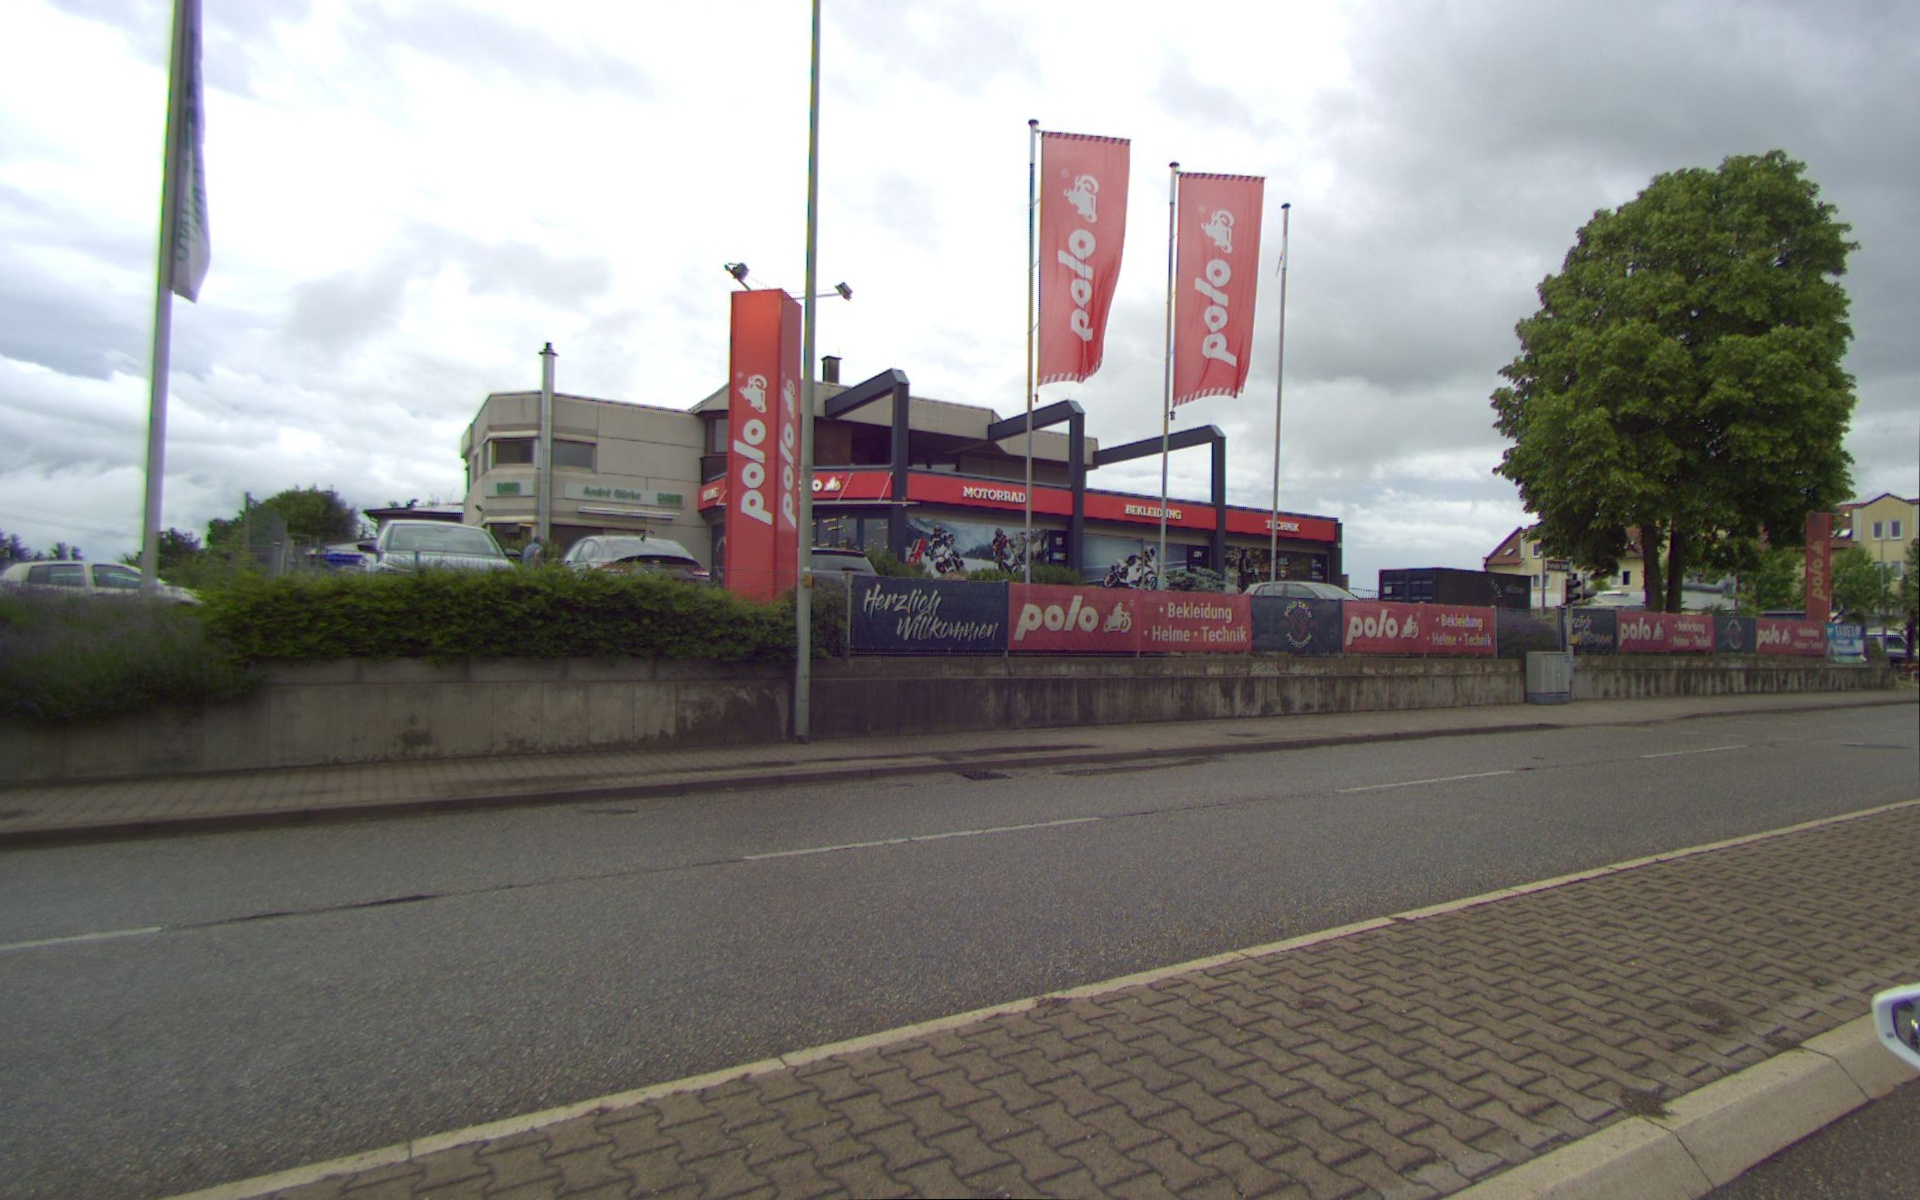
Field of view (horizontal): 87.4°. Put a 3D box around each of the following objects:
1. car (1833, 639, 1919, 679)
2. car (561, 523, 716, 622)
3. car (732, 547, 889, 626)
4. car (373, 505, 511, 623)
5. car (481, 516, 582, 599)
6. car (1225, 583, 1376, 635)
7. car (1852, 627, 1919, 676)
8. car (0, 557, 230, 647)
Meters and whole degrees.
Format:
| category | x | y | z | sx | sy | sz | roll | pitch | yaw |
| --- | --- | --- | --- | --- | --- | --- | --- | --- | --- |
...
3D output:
| category | x | y | z | sx | sy | sz | roll | pitch | yaw |
| --- | --- | --- | --- | --- | --- | --- | --- | --- | --- |
| car | 42.406 | 2.646 | 44.810 | 4.927 | 1.724 | 1.996 | -2 | -6 | 32 |
| car | -4.918 | -0.328 | 15.120 | 1.438 | 1.294 | 3.368 | 1 | -2 | -32 |
| car | -2.619 | -0.164 | 17.071 | 1.438 | 1.183 | 3.368 | 1 | -2 | -32 |
| car | -6.921 | -0.370 | 13.398 | 1.436 | 1.355 | 3.371 | 1 | -2 | -29 |
| car | -9.019 | -0.821 | 21.008 | 1.438 | 1.492 | 3.368 | 1 | -2 | -32 |
| car | 8.229 | 0.242 | 24.509 | 1.438 | 1.183 | 3.368 | 1 | -2 | -32 |
| car | 40.876 | 2.162 | 42.493 | 4.324 | 2.040 | 1.996 | -2 | -3 | 32 |
| car | -16.314 | 0.077 | 19.457 | 3.346 | 1.617 | 1.520 | 1 | -1 | -30 |
